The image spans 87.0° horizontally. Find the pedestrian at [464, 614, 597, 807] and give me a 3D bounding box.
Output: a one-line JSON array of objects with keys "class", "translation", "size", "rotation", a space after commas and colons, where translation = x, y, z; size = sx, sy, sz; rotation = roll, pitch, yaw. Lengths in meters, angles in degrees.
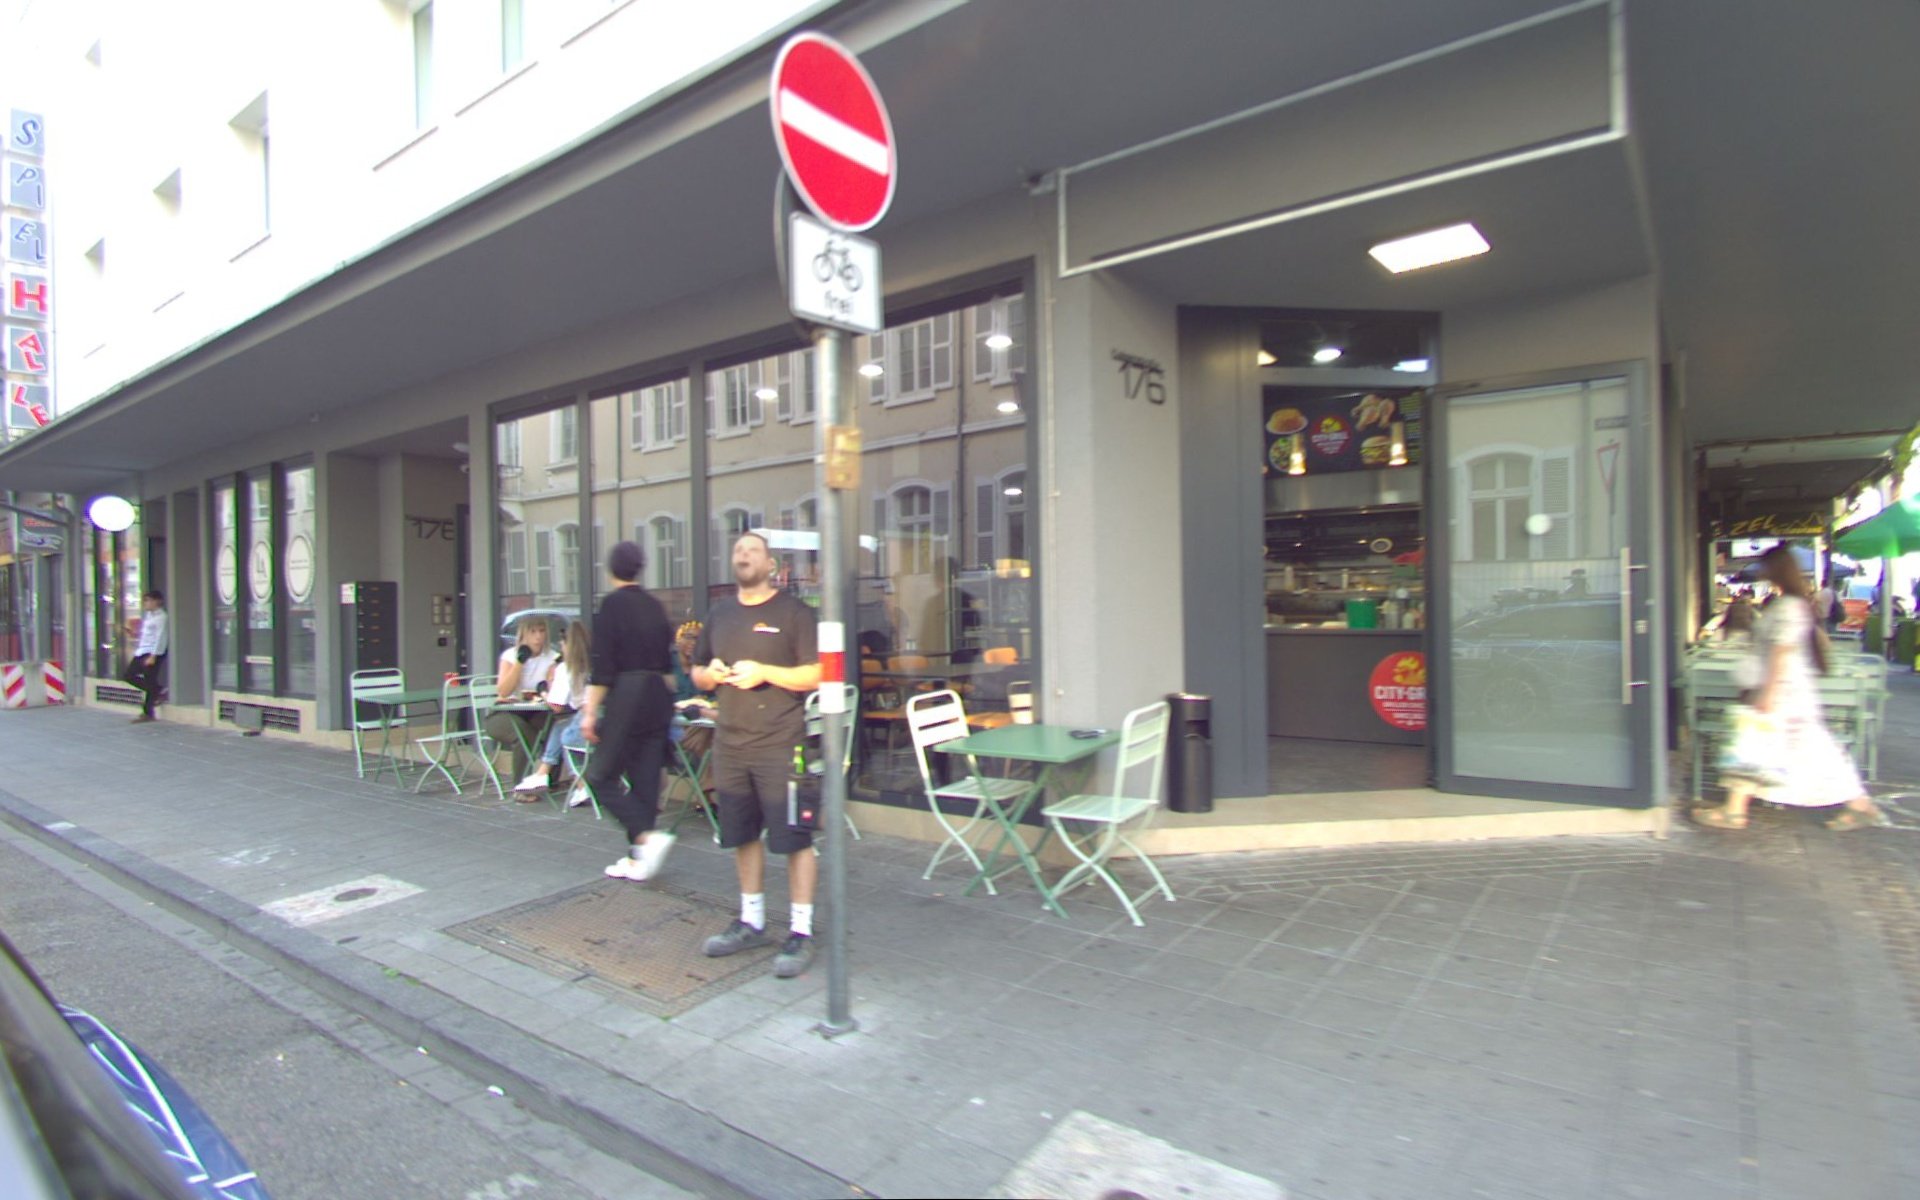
[{"class": "pedestrian", "translation": [-3.104, 0.766, 7.323], "size": [0.712, 1.285, 0.567], "rotation": [-2, 0, 38]}]

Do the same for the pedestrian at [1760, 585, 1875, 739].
[{"class": "pedestrian", "translation": [7.469, 0.522, 8.848], "size": [0.652, 1.269, 0.666], "rotation": [-2, 0, 34]}]

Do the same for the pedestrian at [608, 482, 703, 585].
[{"class": "pedestrian", "translation": [-7.099, -1.461, 23.827], "size": [1.966, 2.029, 4.011], "rotation": [0, -2, -15]}]

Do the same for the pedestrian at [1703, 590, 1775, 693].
[{"class": "pedestrian", "translation": [10.040, 0.524, 13.064], "size": [0.652, 1.269, 0.666], "rotation": [-2, 0, 34]}]

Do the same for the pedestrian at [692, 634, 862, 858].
[{"class": "pedestrian", "translation": [-1.023, 0.768, 5.653], "size": [0.712, 1.122, 0.567], "rotation": [-2, 0, 38]}]

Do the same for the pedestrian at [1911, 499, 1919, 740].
[{"class": "pedestrian", "translation": [7.237, 0.211, 6.803], "size": [1.028, 1.916, 1.056], "rotation": [-2, -2, 35]}]

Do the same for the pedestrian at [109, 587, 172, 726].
[{"class": "pedestrian", "translation": [-11.256, 0.762, 13.902], "size": [0.561, 1.848, 0.526], "rotation": [-2, -2, 31]}]

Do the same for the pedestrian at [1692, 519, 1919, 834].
[{"class": "pedestrian", "translation": [4.570, 0.388, 5.483], "size": [0.741, 1.584, 0.603], "rotation": [0, -2, -16]}]

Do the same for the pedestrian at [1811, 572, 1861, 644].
[{"class": "pedestrian", "translation": [20.231, 0.190, 23.400], "size": [0.708, 1.619, 0.871], "rotation": [-2, -1, 33]}]

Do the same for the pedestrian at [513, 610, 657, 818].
[{"class": "pedestrian", "translation": [-2.519, 0.727, 6.799], "size": [0.712, 1.285, 0.567], "rotation": [-2, 0, 38]}]

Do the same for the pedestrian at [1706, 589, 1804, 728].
[{"class": "pedestrian", "translation": [7.646, 0.545, 9.764], "size": [0.652, 1.269, 0.666], "rotation": [-2, 0, 34]}]

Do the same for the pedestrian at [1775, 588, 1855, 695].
[{"class": "pedestrian", "translation": [10.643, 0.506, 12.617], "size": [0.652, 1.269, 0.666], "rotation": [-2, 0, 34]}]

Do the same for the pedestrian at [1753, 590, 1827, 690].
[{"class": "pedestrian", "translation": [11.107, 0.526, 13.561], "size": [0.652, 1.269, 0.666], "rotation": [-2, 0, 34]}]

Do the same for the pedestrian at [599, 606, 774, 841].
[{"class": "pedestrian", "translation": [-1.659, 0.702, 6.152], "size": [0.712, 1.285, 0.695], "rotation": [-2, 0, 38]}]

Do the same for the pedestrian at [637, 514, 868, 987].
[{"class": "pedestrian", "translation": [-0.783, 0.539, 3.912], "size": [0.680, 1.680, 0.504], "rotation": [-2, 0, 13]}]

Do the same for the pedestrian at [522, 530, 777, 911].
[{"class": "pedestrian", "translation": [-1.539, 0.529, 5.040], "size": [0.900, 1.680, 0.789], "rotation": [-1, 1, 36]}]
